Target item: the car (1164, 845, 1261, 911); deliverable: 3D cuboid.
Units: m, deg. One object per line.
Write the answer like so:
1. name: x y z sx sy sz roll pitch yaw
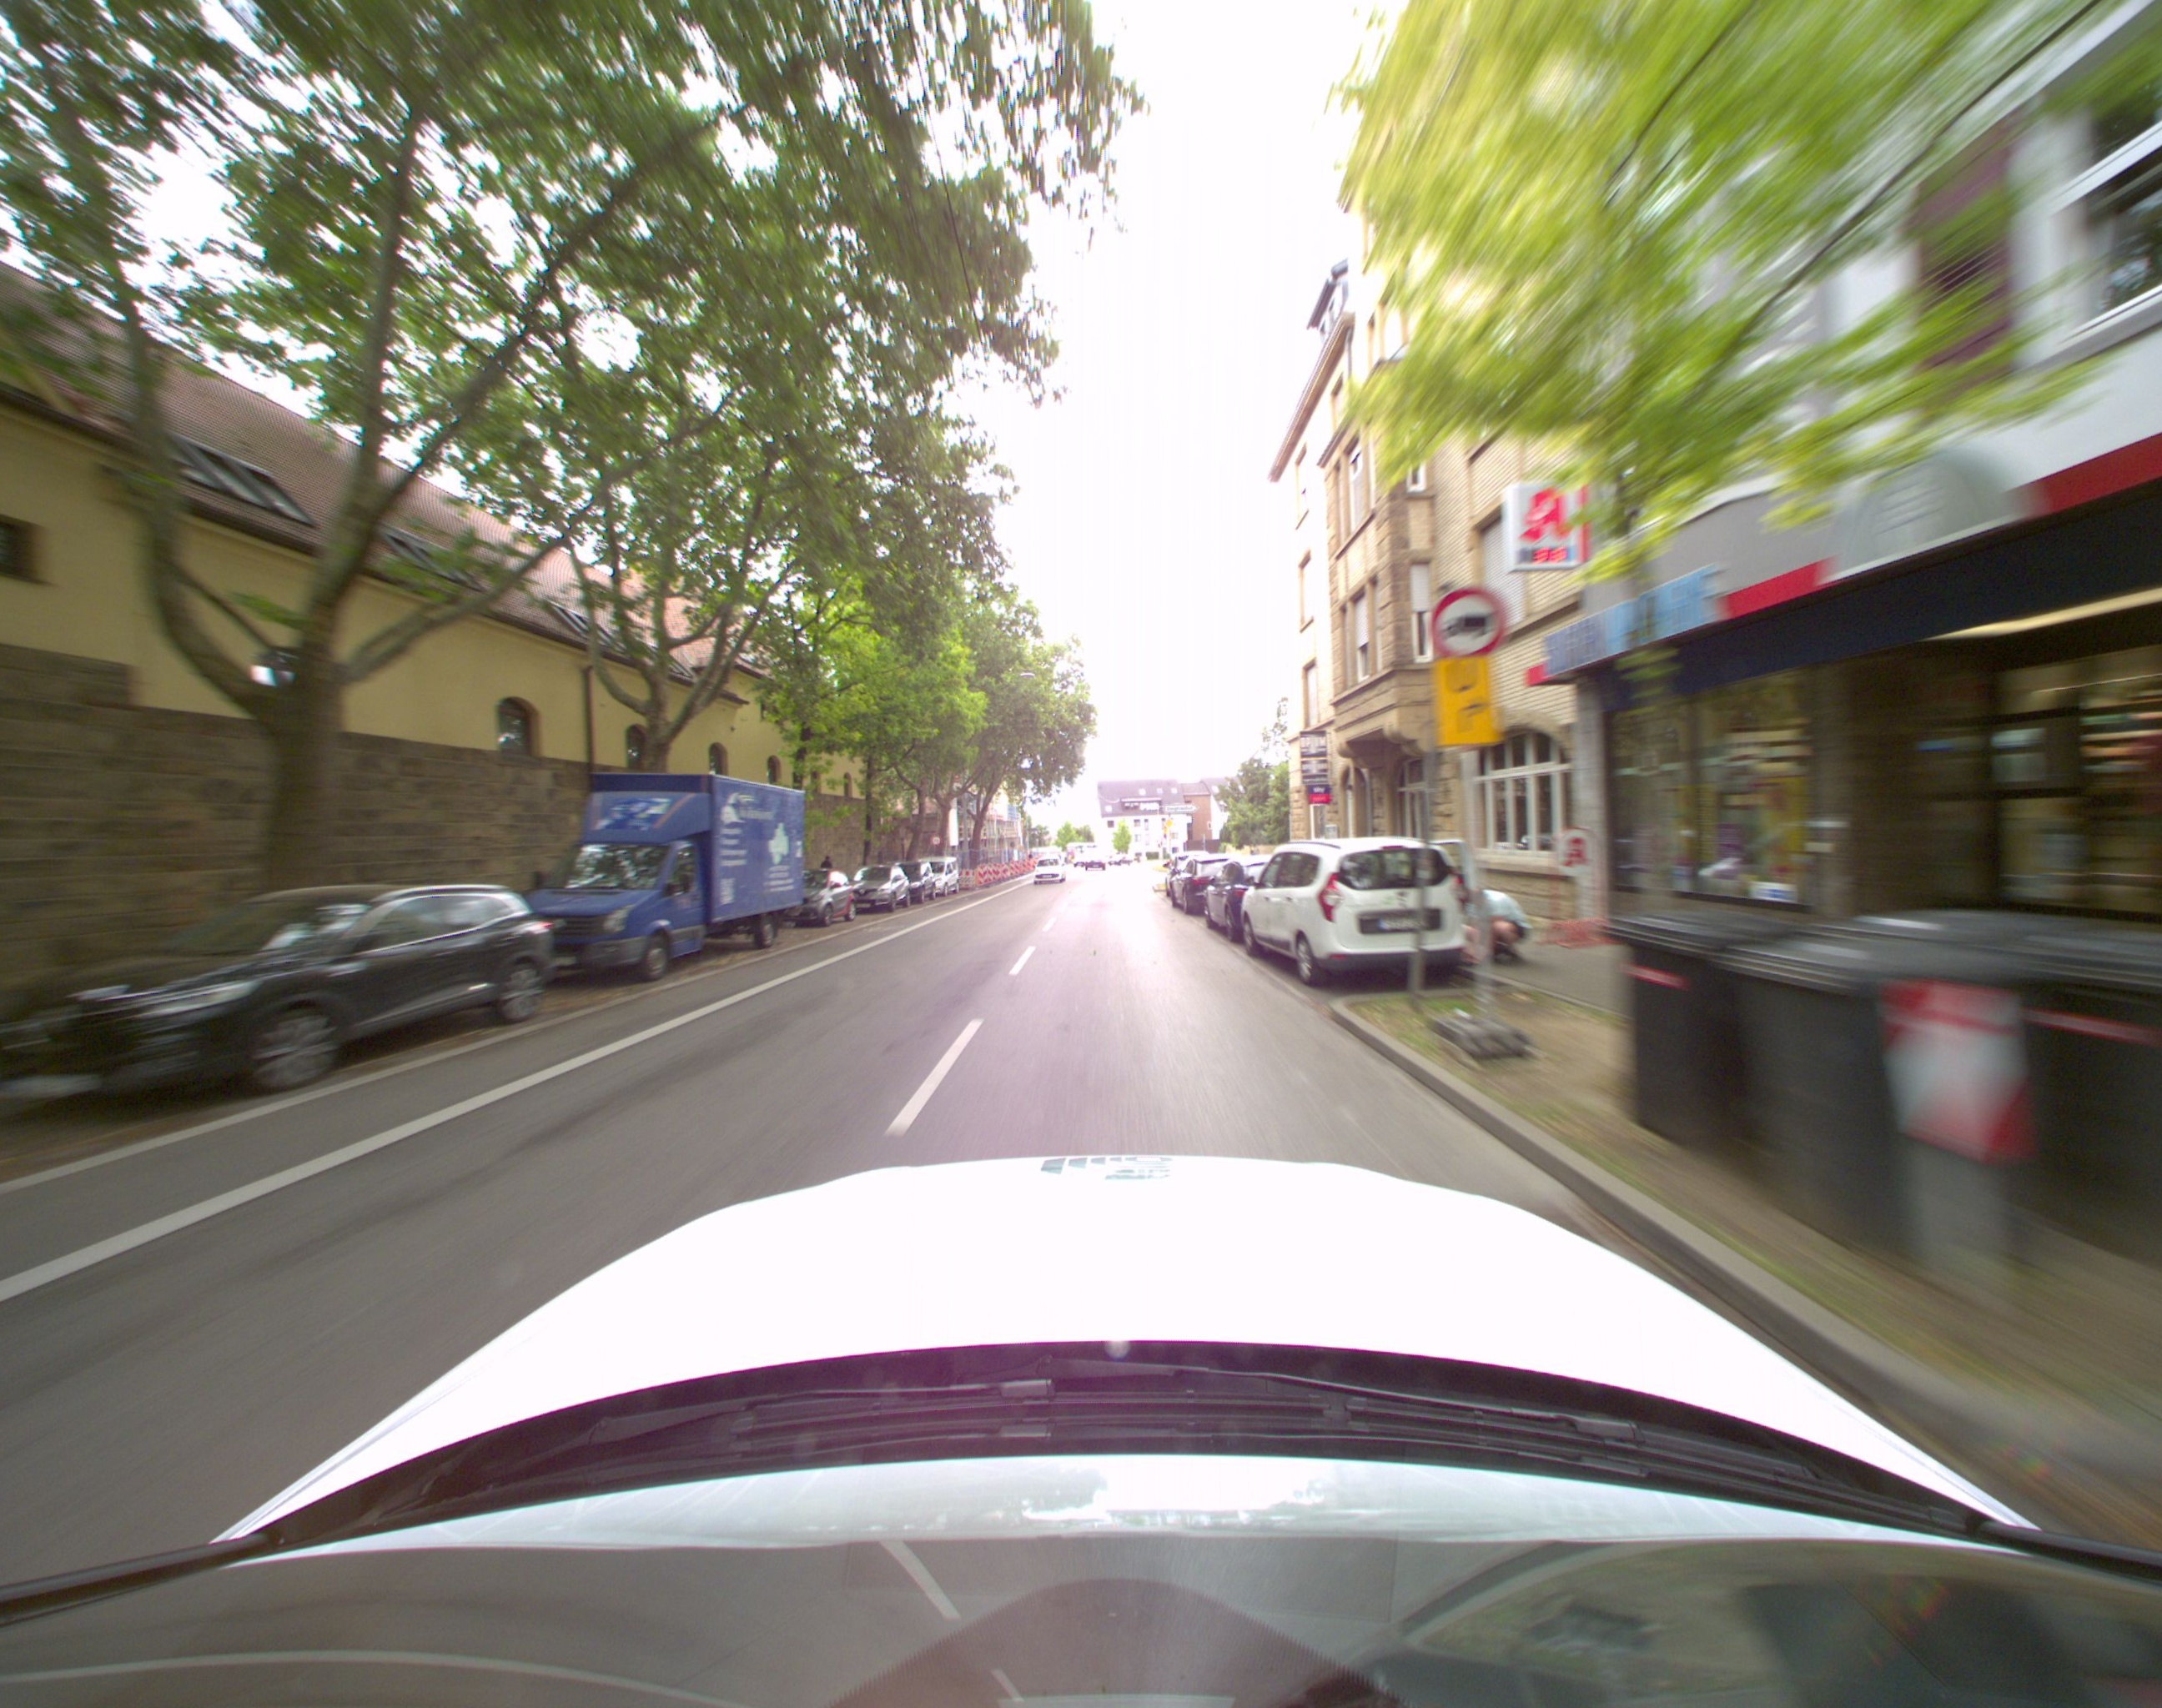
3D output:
1. car: 3.412 0.583 21.968 1.733 1.463 4.774 -4 0 0

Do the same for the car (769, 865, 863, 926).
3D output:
1. car: -7.336 1.106 22.772 1.474 1.573 2.995 -1 -1 4

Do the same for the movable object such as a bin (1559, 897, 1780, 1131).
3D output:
1. movable object such as a bin: 2.974 0.772 4.177 0.620 1.024 0.696 -2 2 -1

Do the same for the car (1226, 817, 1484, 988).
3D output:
1. car: 3.270 0.498 10.767 1.674 1.663 4.541 -4 0 -1

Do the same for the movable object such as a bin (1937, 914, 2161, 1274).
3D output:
1. movable object such as a bin: 3.688 0.777 2.860 0.692 1.073 0.624 -1 0 2

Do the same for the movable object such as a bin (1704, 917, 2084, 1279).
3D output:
1. movable object such as a bin: 2.806 0.778 2.883 0.621 1.024 0.695 -2 0 -6

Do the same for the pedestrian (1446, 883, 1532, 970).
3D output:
1. pedestrian: 4.753 0.832 9.521 0.624 0.941 0.692 -1 0 -4

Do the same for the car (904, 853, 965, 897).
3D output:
1. car: -6.878 0.941 38.705 1.827 1.876 4.419 -3 0 2

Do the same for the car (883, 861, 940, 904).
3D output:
1. car: -6.881 1.105 33.411 1.504 1.631 4.113 0 -1 -1

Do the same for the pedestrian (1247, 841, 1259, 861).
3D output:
1. pedestrian: 14.400 -0.242 68.278 0.714 1.734 0.654 1 -1 -31

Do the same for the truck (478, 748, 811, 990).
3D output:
1. truck: -7.402 0.209 15.194 2.207 3.416 7.247 0 0 1

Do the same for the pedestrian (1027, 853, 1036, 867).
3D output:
1. pedestrian: -5.980 0.694 98.344 0.918 1.720 0.799 -1 -1 4

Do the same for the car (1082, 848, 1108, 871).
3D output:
1. car: 1.360 0.486 74.651 2.196 1.931 5.243 -1 0 2

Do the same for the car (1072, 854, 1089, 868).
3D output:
1. car: -0.029 0.773 90.007 1.693 1.426 4.251 -1 0 1

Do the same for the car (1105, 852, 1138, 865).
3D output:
1. car: 4.996 0.532 100.588 3.713 1.426 1.687 -2 0 -34

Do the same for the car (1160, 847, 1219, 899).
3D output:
1. car: 3.662 0.600 27.999 1.559 1.610 3.655 -3 0 2

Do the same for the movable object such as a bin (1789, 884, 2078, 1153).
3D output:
1. movable object such as a bin: 3.655 0.665 3.544 0.575 1.024 0.624 -2 0 1

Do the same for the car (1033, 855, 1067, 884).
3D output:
1. car: -1.727 0.830 46.481 1.577 1.464 3.653 -5 0 2

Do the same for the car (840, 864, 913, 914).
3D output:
1. car: -7.023 1.148 28.279 1.589 1.573 4.084 0 -1 -2

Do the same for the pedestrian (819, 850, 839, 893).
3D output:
1. pedestrian: -10.871 0.750 35.147 0.590 1.799 0.743 -1 -1 2

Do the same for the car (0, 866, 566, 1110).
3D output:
1. car: -7.257 0.990 7.943 1.725 1.689 4.253 -1 0 1

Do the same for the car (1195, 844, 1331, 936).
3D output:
1. car: 3.305 0.591 15.609 1.600 1.397 4.276 -4 0 1

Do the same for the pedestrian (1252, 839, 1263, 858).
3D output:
1. pedestrian: 15.467 -0.483 71.309 0.583 1.585 0.570 -5 1 -27
